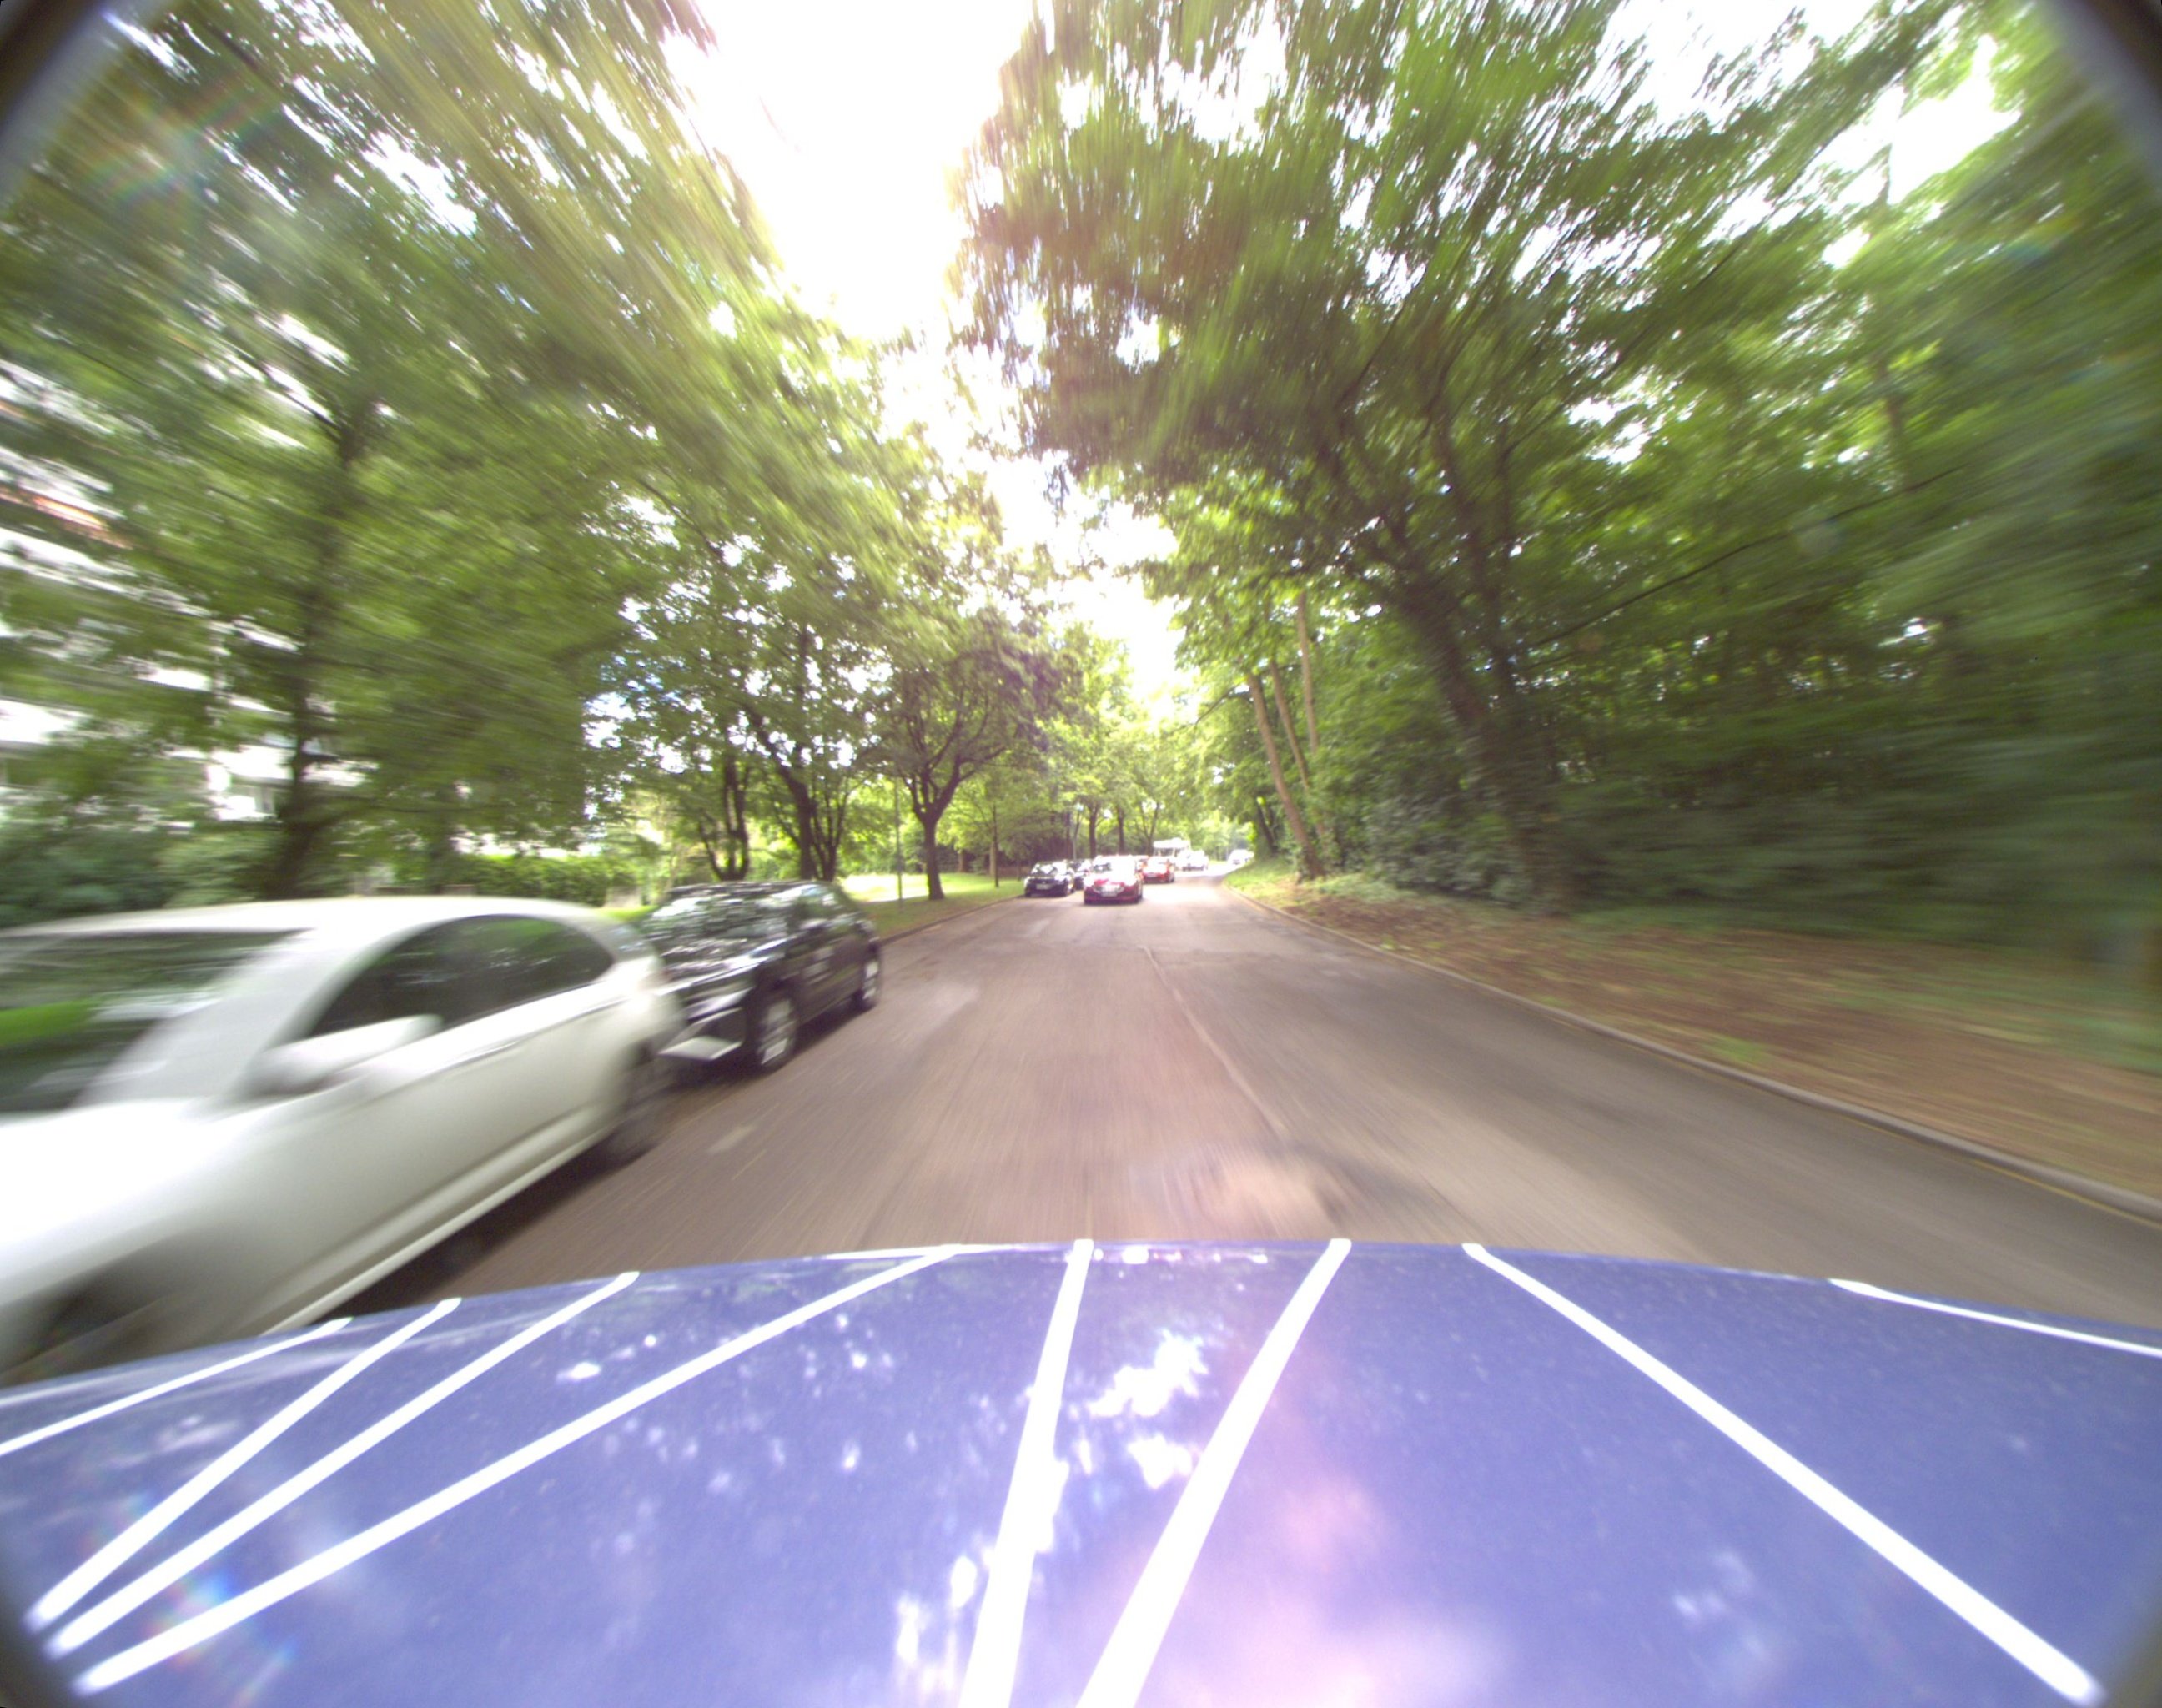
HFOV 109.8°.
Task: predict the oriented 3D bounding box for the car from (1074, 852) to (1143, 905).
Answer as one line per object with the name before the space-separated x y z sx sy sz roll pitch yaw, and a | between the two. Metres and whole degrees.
car | 1.071 0.797 26.676 2.002 1.599 4.679 -3 0 6

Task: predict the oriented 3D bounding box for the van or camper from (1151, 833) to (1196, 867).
van or camper | 8.997 -0.423 73.108 2.427 2.962 7.403 -3 0 21

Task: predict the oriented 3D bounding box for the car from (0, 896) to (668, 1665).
car | -3.295 1.038 2.586 1.779 1.513 3.780 -3 0 -3

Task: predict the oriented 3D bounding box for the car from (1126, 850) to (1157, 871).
car | 4.915 0.503 61.225 1.691 1.474 4.111 -3 0 14

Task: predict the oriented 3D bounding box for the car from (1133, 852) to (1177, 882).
car | 4.148 0.659 41.860 1.956 1.464 4.681 -3 0 10

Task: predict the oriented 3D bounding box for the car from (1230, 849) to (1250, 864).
car | 18.039 0.267 86.159 1.766 1.559 4.051 -3 0 18

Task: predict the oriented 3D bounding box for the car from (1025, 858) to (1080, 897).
car | -1.142 0.941 32.172 1.685 1.456 3.900 -3 0 7

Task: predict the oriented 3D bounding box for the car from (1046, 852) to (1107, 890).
car | -0.118 0.789 37.206 1.916 1.602 4.738 -3 0 12

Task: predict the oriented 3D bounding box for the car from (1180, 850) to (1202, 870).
car | 9.488 0.514 65.644 1.654 1.559 4.047 -3 0 6

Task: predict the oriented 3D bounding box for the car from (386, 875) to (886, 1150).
car | -3.288 1.040 6.770 1.778 1.513 4.184 -3 0 2
